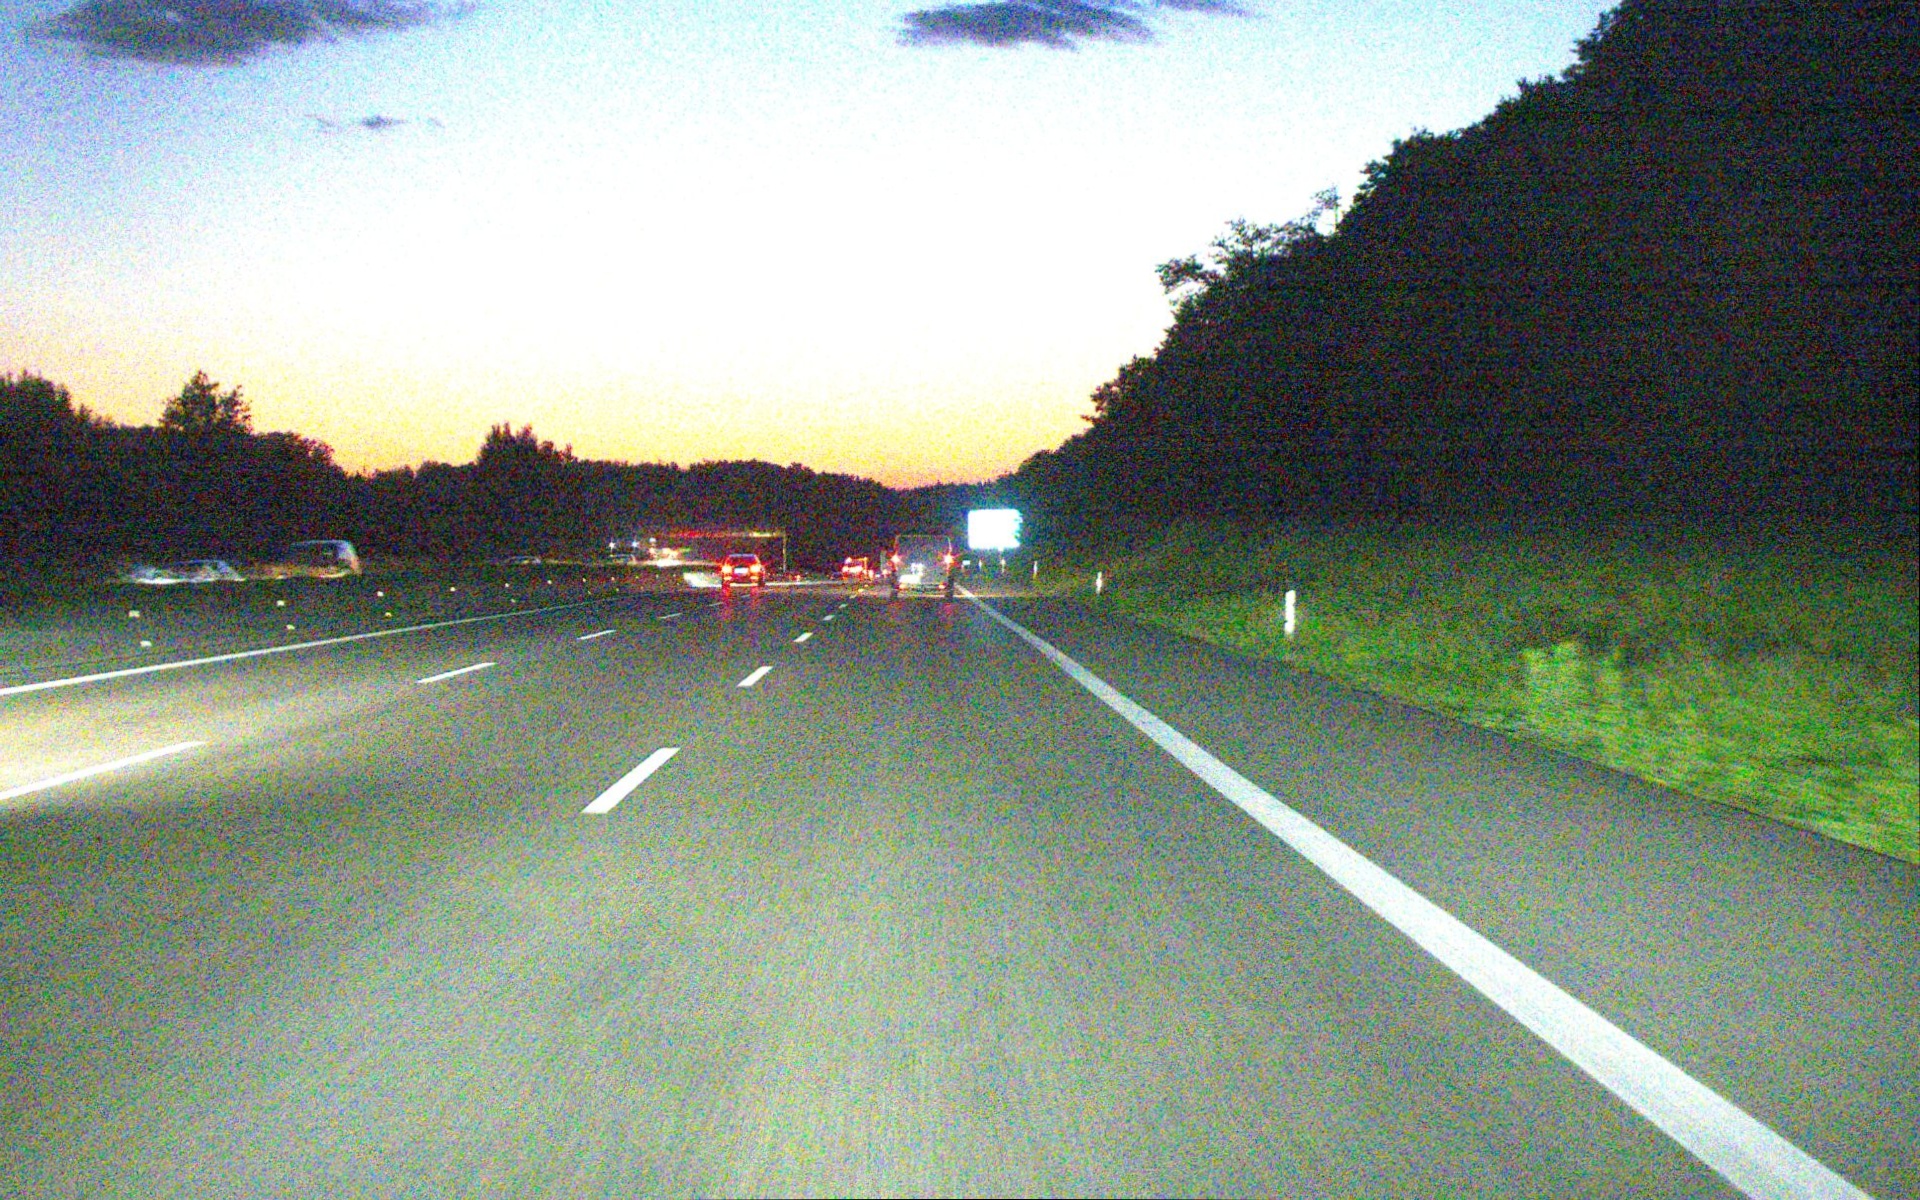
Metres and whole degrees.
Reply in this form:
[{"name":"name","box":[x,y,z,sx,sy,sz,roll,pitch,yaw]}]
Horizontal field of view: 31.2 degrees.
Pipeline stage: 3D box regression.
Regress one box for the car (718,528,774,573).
[{"name":"car","box":[-9.358,-2.194,150.800,2.196,1.949,4.634,0,1,-1]}]

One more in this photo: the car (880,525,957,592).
[{"name":"car","box":[-1.277,-1.313,107.471,2.197,1.948,4.763,-3,1,1]}]
